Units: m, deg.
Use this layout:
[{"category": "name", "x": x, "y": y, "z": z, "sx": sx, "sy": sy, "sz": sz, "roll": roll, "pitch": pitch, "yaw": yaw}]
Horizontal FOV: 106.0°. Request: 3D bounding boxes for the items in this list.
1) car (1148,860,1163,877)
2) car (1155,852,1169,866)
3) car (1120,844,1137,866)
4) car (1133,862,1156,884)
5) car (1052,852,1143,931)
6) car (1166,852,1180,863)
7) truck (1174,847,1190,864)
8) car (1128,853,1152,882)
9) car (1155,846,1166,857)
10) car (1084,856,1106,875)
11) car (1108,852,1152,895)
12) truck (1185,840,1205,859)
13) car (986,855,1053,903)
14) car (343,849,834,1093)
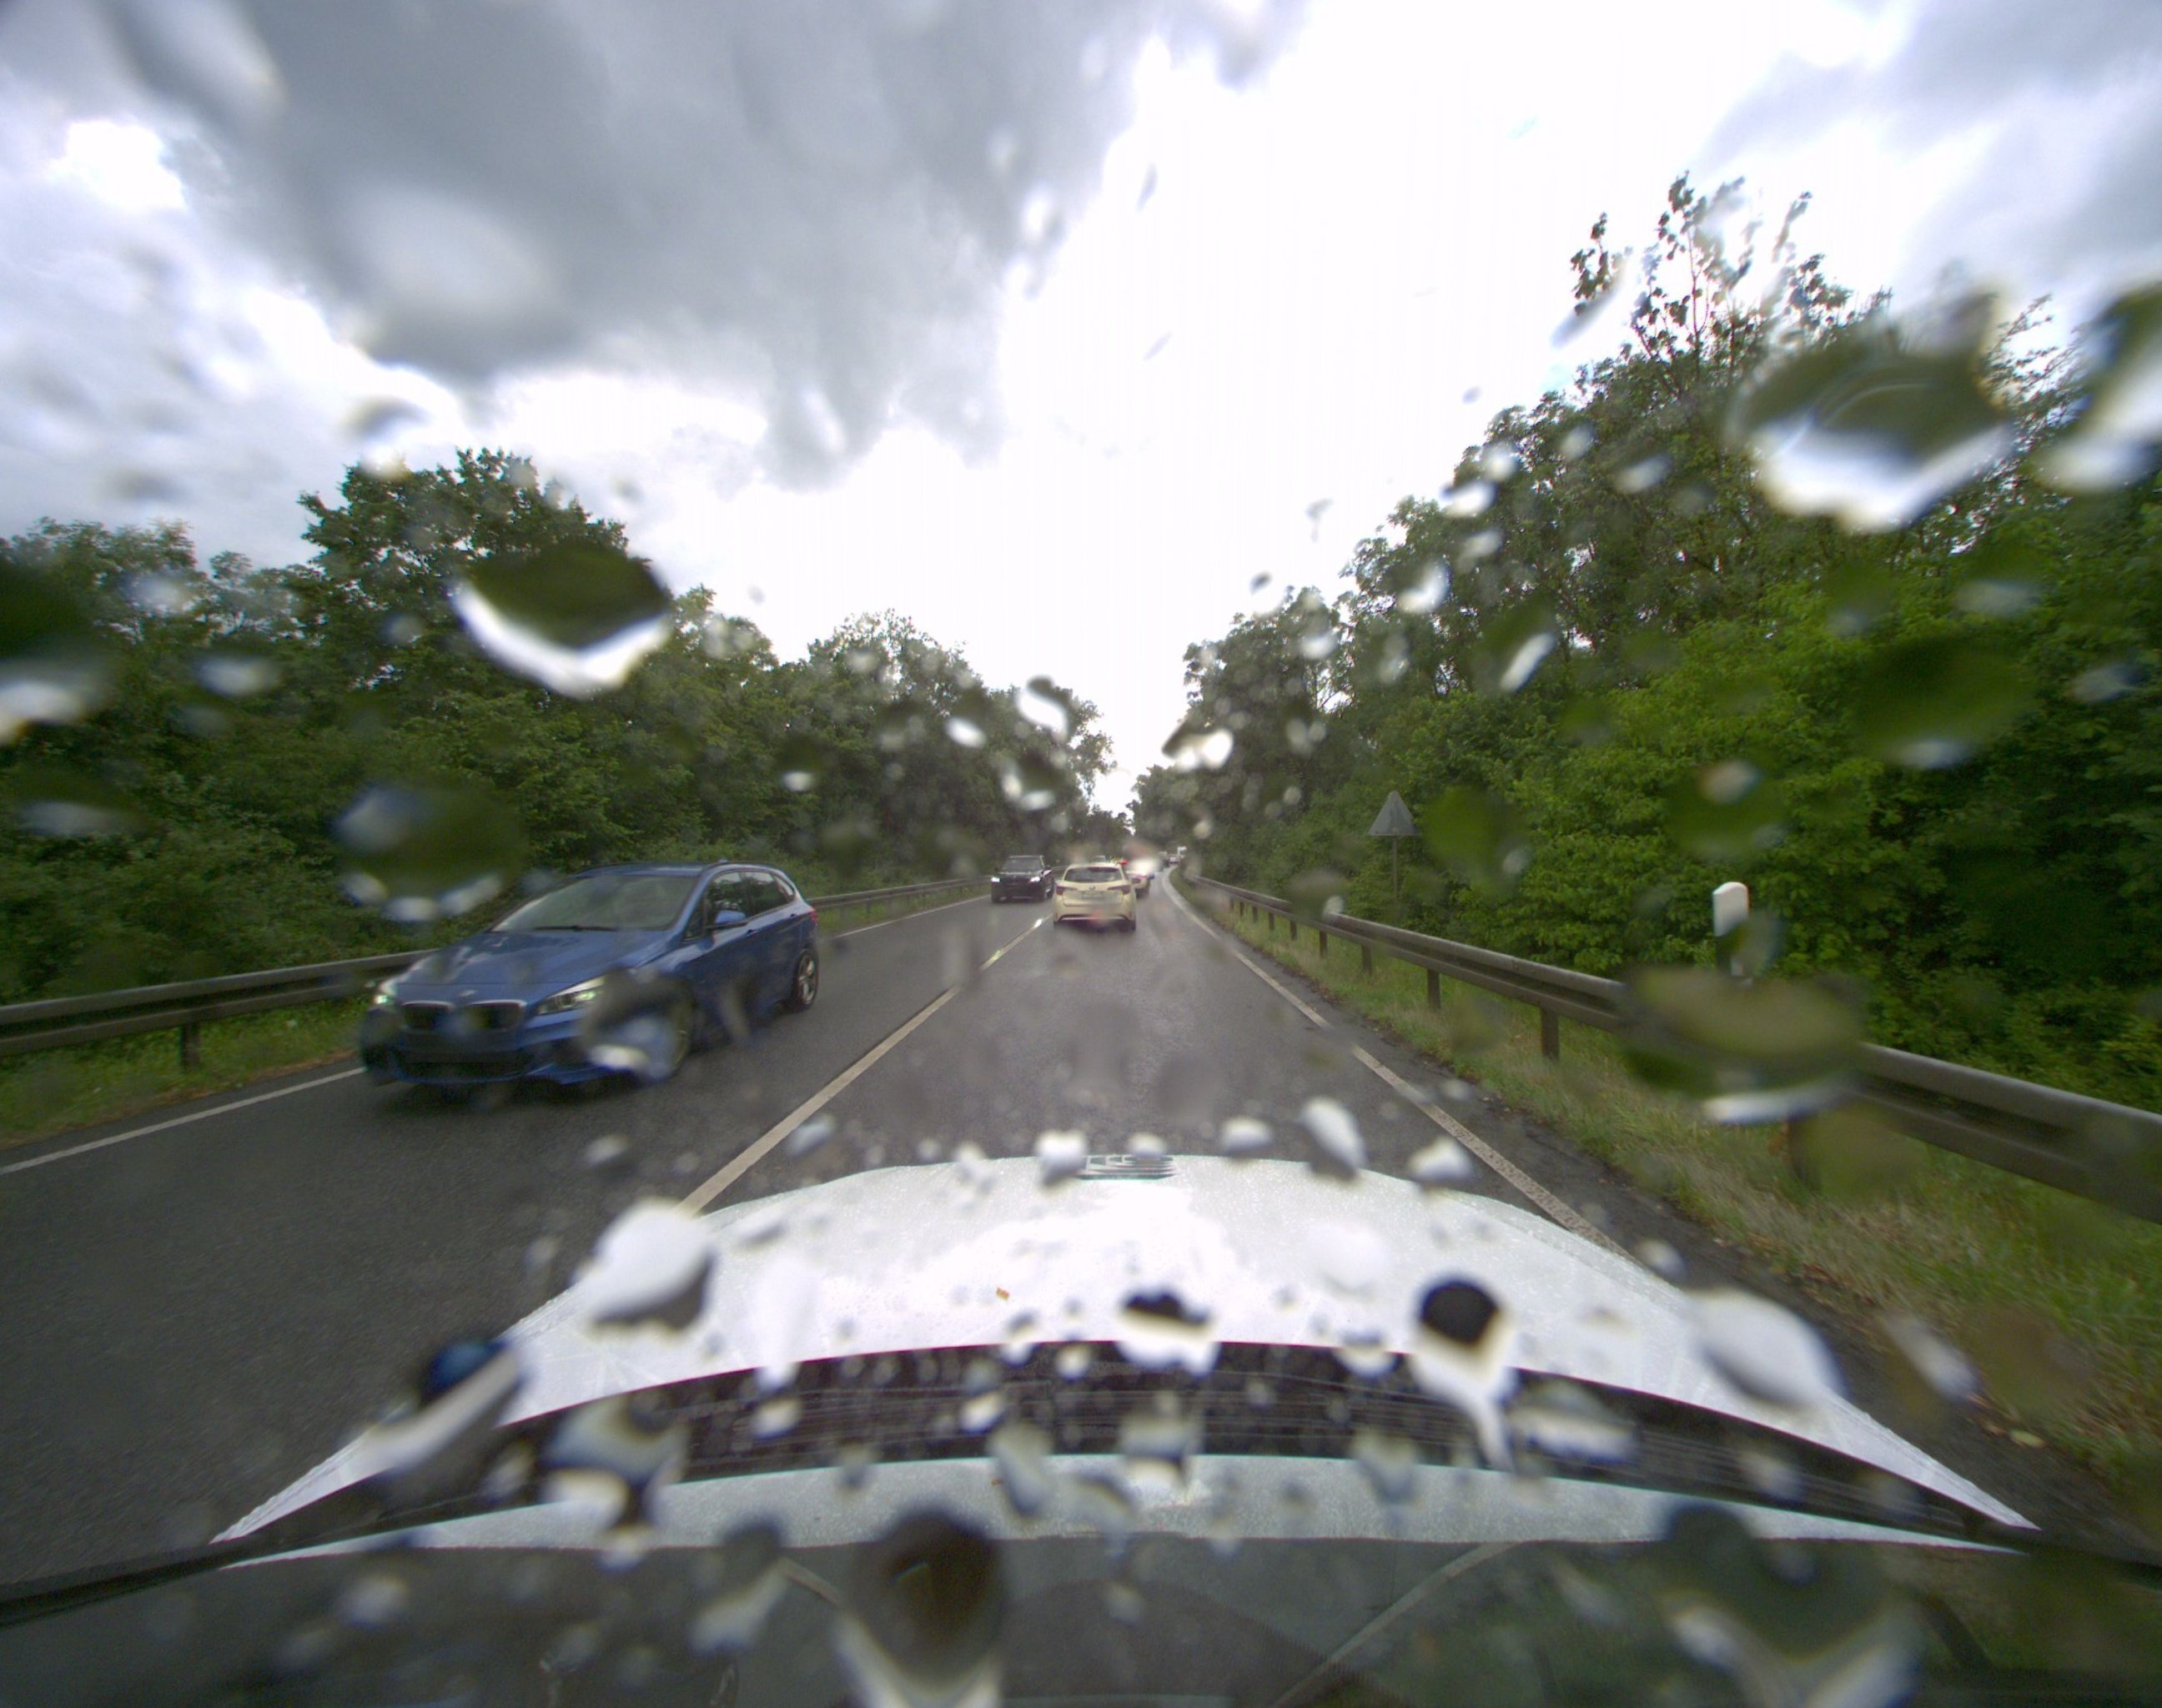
[{"category": "car", "x": 7.182, "y": 1.381, "z": 78.335, "sx": 1.160, "sy": 1.547, "sz": 2.611, "roll": -1, "pitch": -1, "yaw": 10}, {"category": "car", "x": 9.665, "y": 0.560, "z": 96.792, "sx": 1.608, "sy": 1.613, "sz": 3.627, "roll": -1, "pitch": -1, "yaw": 6}, {"category": "car", "x": 6.058, "y": 0.211, "z": 103.122, "sx": 2.039, "sy": 2.677, "sz": 6.177, "roll": -1, "pitch": -1, "yaw": 4}, {"category": "car", "x": 4.510, "y": 1.336, "z": 58.107, "sx": 1.604, "sy": 1.547, "sz": 3.817, "roll": -1, "pitch": -1, "yaw": 4}, {"category": "car", "x": 0.425, "y": 0.789, "z": 18.500, "sx": 1.826, "sy": 1.580, "sz": 4.159, "roll": 0, "pitch": -1, "yaw": 2}, {"category": "car", "x": 13.206, "y": 0.571, "z": 116.269, "sx": 1.759, "sy": 1.547, "sz": 3.824, "roll": -1, "pitch": -1, "yaw": 9}, {"category": "truck", "x": 17.149, "y": 0.318, "z": 138.527, "sx": 2.537, "sy": 2.713, "sz": 7.545, "roll": -1, "pitch": -1, "yaw": 5}, {"category": "car", "x": 3.262, "y": 0.729, "z": 45.343, "sx": 1.295, "sy": 1.547, "sz": 3.263, "roll": 0, "pitch": -1, "yaw": 4}, {"category": "car", "x": 15.354, "y": -0.387, "z": 156.679, "sx": 1.983, "sy": 2.014, "sz": 4.007, "roll": -1, "pitch": -1, "yaw": 6}, {"category": "car", "x": 1.207, "y": 0.944, "z": 68.935, "sx": 1.684, "sy": 1.555, "sz": 4.446, "roll": 0, "pitch": 0, "yaw": 4}, {"category": "car", "x": 1.958, "y": 0.767, "z": 32.640, "sx": 1.660, "sy": 1.580, "sz": 3.895, "roll": 0, "pitch": -1, "yaw": 3}, {"category": "truck", "x": 22.984, "y": -0.825, "z": 163.660, "sx": 3.084, "sy": 3.680, "sz": 7.028, "roll": -1, "pitch": -1, "yaw": 15}, {"category": "car", "x": -2.178, "y": 0.874, "z": 29.999, "sx": 1.839, "sy": 1.644, "sz": 4.302, "roll": 0, "pitch": 0, "yaw": 3}, {"category": "car", "x": -3.678, "y": 0.761, "z": 7.050, "sx": 1.700, "sy": 1.516, "sz": 3.915, "roll": 0, "pitch": -1, "yaw": 3}]
